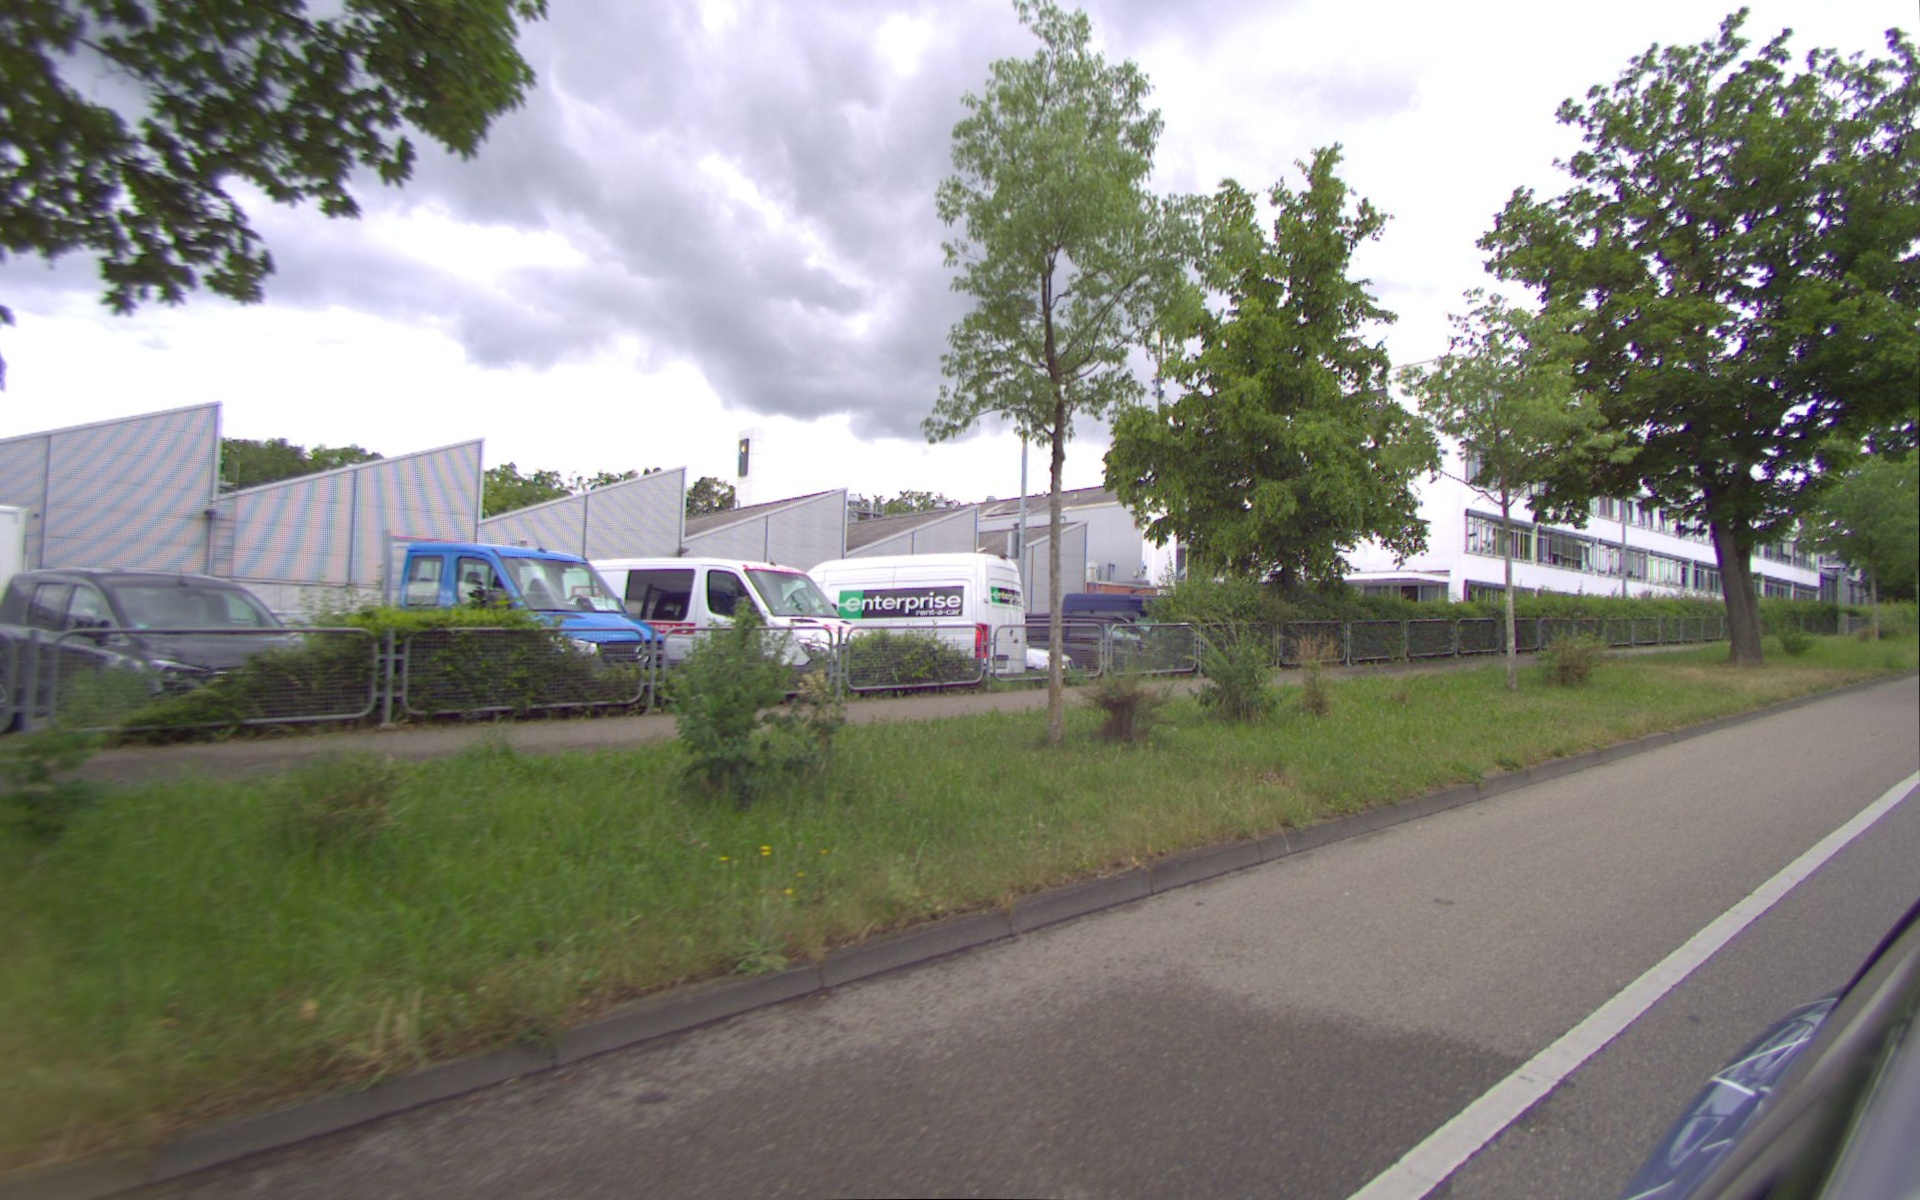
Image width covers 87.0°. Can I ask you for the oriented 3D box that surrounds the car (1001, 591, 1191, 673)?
[{"bbox_3d":[3.331,0.759,24.710,4.303,1.867,1.909,-1,-1,22],"label":"car"}]

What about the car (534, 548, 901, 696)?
[{"bbox_3d":[-3.905,0.324,15.904,5.775,1.982,2.050,-1,-1,29],"label":"car"}]

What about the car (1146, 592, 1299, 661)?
[{"bbox_3d":[8.182,0.825,31.971,4.504,2.060,2.065,0,-1,11],"label":"car"}]

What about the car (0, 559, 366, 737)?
[{"bbox_3d":[-8.793,0.468,11.127,3.955,1.650,1.984,-1,-1,23],"label":"car"}]

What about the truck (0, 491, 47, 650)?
[{"bbox_3d":[-24.699,-0.648,20.111,2.847,3.503,9.408,-1,-1,38],"label":"truck"}]

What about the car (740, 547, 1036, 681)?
[{"bbox_3d":[-1.379,0.253,18.848,5.208,2.216,2.053,-1,-1,26],"label":"car"}]

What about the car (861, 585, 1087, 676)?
[{"bbox_3d":[0.314,0.655,22.525,4.673,1.867,1.909,-1,-1,22],"label":"car"}]

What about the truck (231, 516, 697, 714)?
[{"bbox_3d":[-6.771,0.206,13.729,6.183,2.241,2.229,-1,-1,23],"label":"truck"}]

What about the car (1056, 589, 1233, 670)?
[{"bbox_3d":[4.955,0.779,27.372,4.504,2.060,2.065,0,-1,11],"label":"car"}]
